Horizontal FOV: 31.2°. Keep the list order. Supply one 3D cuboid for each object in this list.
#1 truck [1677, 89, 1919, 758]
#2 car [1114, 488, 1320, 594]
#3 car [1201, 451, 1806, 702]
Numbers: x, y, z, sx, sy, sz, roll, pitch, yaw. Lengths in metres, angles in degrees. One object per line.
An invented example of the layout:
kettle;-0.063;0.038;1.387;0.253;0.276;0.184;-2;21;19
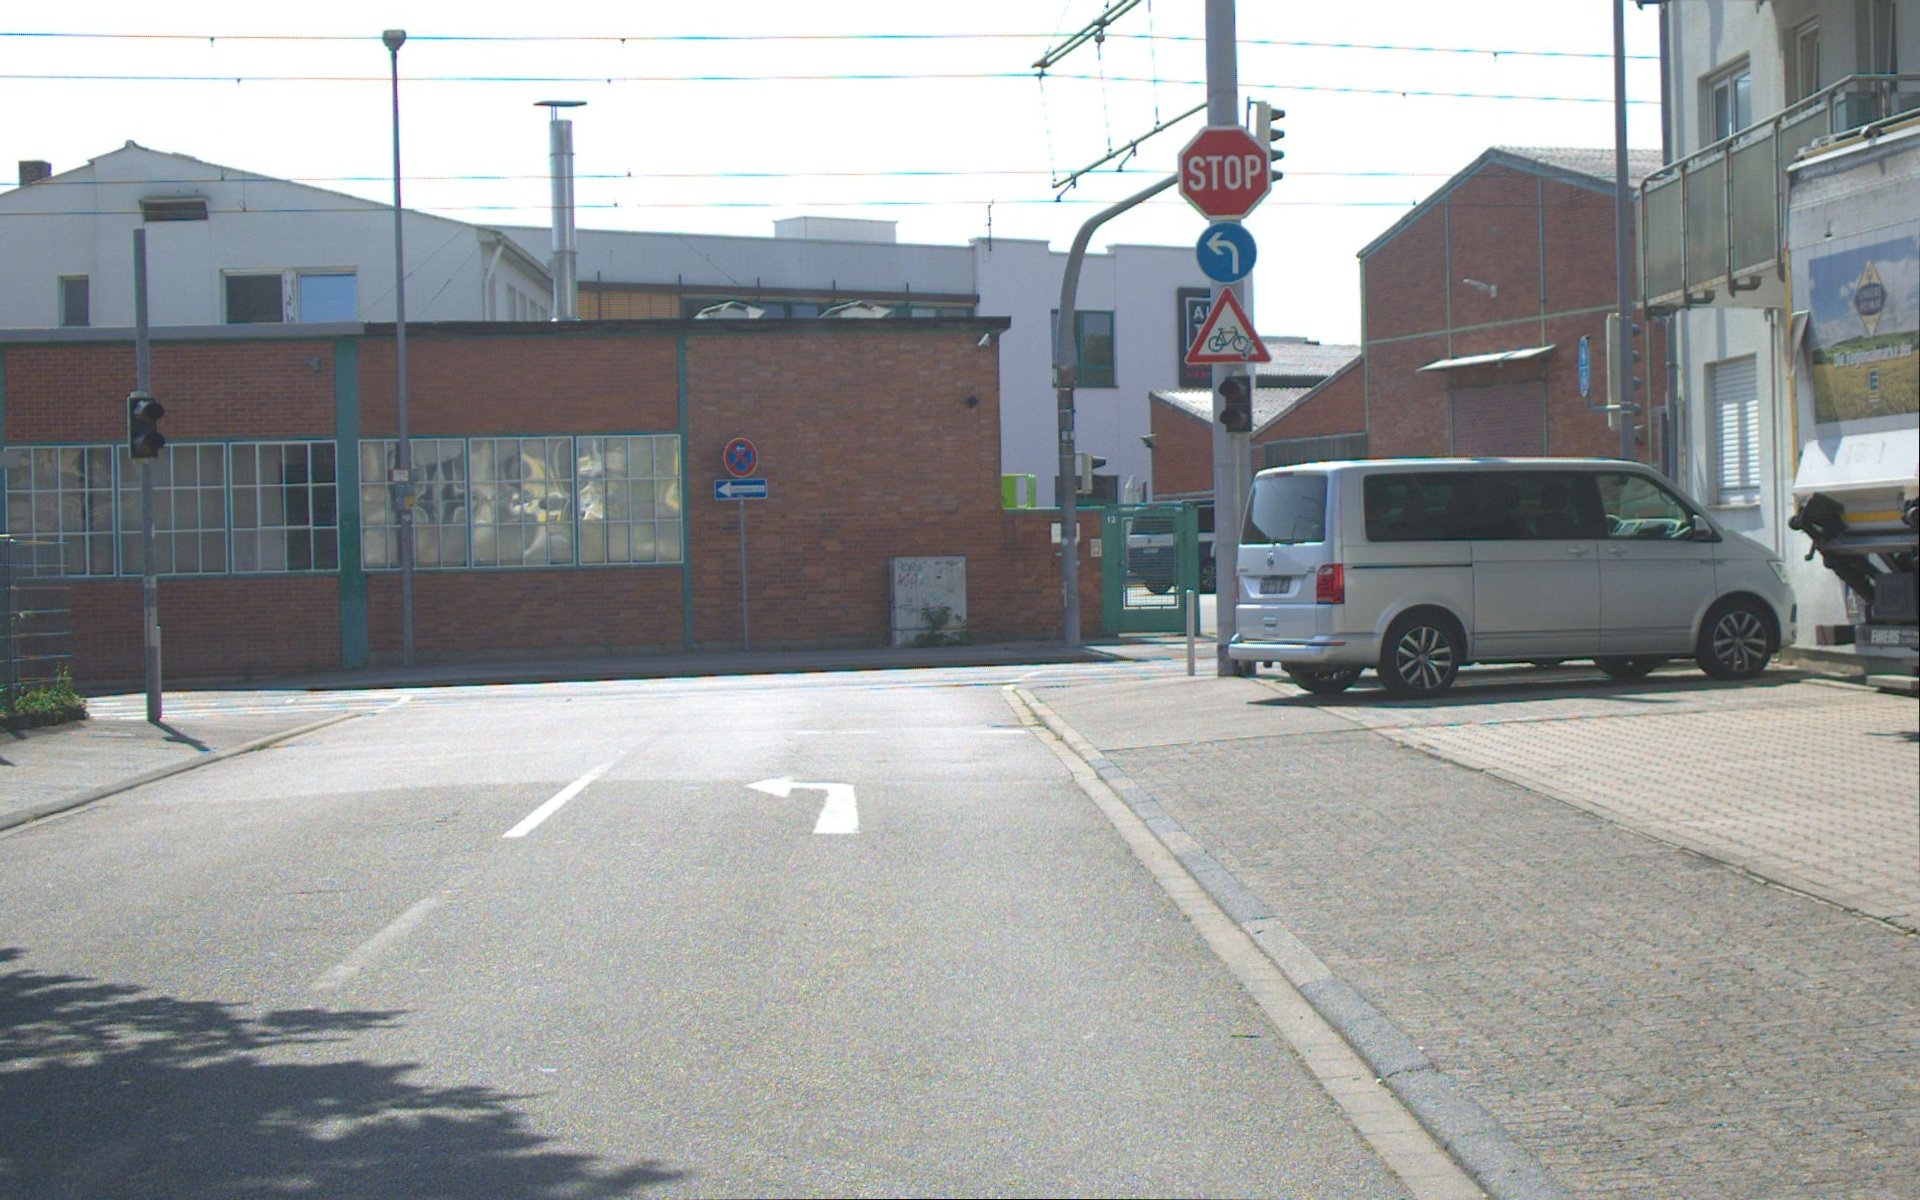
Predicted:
truck;8.415;-1.230;20.587;7.357;3.633;2.768;-4;1;-7
car;5.529;-1.269;73.969;3.987;2.182;2.000;-2;1;-33
car;4.565;-0.229;28.925;4.653;1.951;1.917;-1;1;-20
